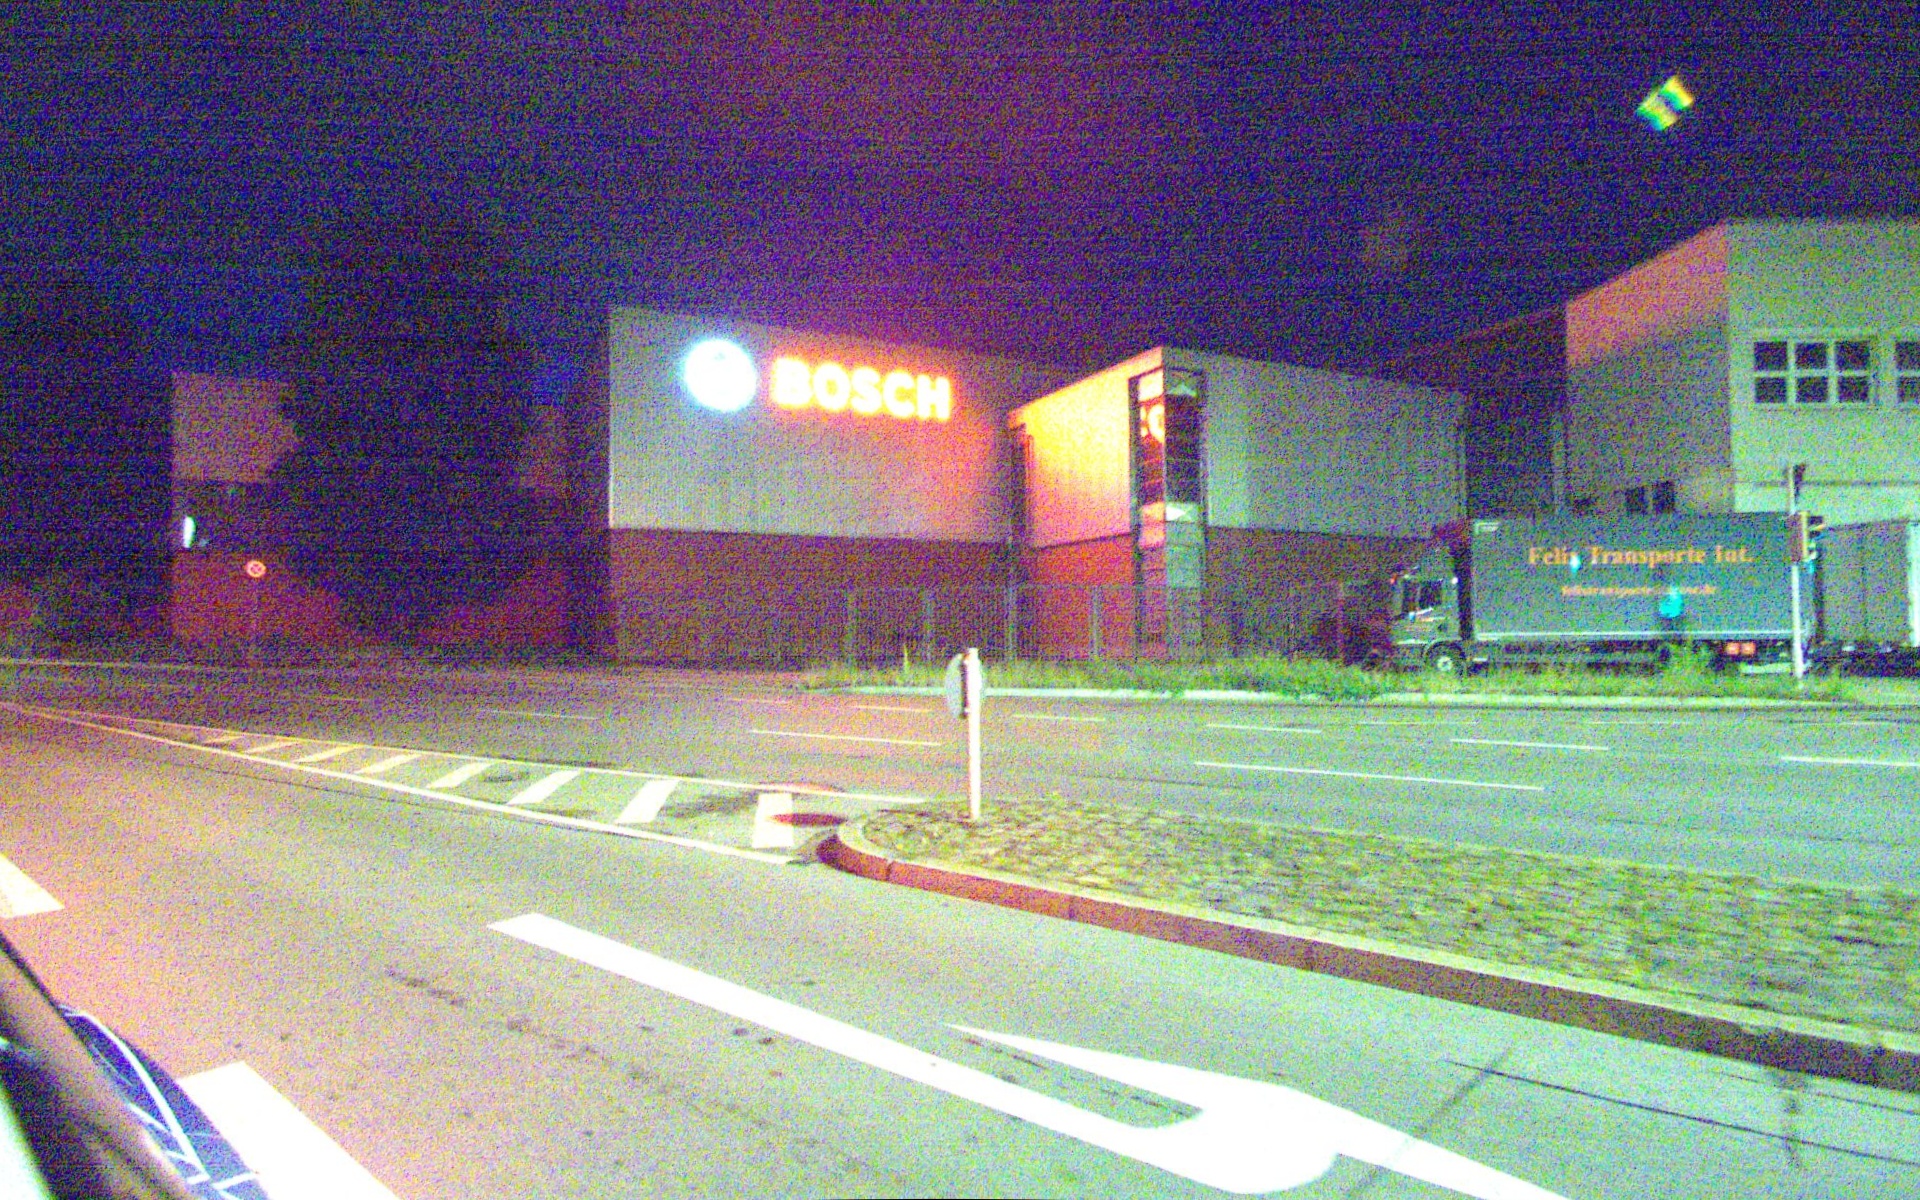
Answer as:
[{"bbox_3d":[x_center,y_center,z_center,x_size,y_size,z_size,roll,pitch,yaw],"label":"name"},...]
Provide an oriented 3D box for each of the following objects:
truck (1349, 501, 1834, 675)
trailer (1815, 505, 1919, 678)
[{"bbox_3d":[14.654,-0.259,24.264,9.440,3.825,2.942,0,-1,6],"label":"truck"},{"bbox_3d":[24.321,-0.164,23.513,6.430,3.819,2.619,0,-1,4],"label":"trailer"}]
